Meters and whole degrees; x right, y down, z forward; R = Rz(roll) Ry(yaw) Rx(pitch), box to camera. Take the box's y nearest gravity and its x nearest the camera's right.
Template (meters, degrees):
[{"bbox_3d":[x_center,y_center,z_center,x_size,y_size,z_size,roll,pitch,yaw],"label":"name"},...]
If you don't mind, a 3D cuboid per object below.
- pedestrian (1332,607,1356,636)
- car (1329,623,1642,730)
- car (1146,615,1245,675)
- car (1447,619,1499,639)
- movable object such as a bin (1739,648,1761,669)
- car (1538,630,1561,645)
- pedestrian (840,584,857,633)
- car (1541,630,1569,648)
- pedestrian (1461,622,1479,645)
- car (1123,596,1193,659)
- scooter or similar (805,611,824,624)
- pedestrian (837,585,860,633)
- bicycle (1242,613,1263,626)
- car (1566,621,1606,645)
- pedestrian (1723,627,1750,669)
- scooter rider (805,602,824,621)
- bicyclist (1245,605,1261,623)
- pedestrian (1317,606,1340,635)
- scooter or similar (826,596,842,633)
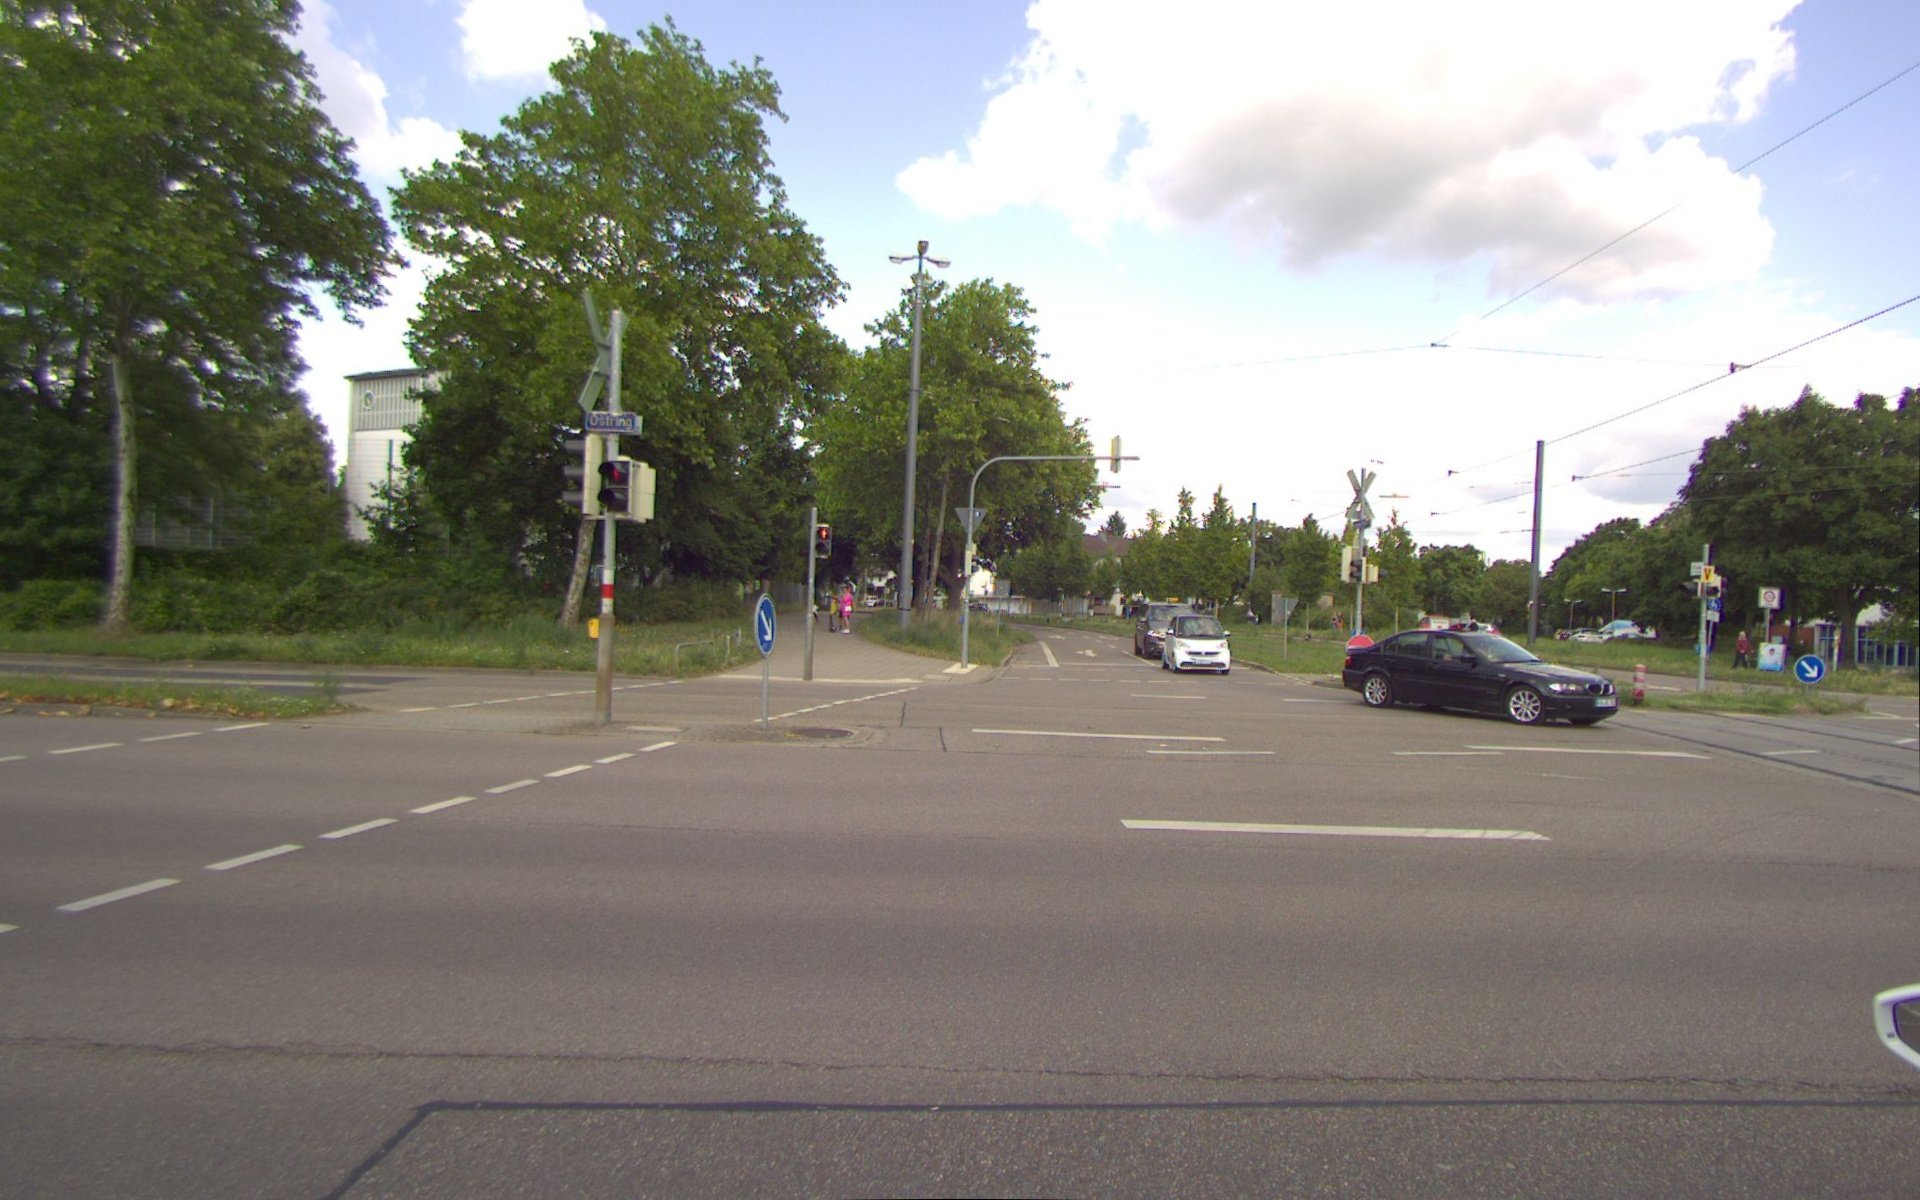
[{"bbox_3d":[27.577,1.514,72.193,1.086,2.040,1.175,2,0,-8],"label":"pedestrian"},{"bbox_3d":[8.499,1.163,16.718,1.787,1.450,4.440,2,-1,-25],"label":"car"},{"bbox_3d":[6.448,1.187,27.985,1.776,1.450,4.383,2,0,1],"label":"car"},{"bbox_3d":[44.522,2.483,87.248,3.925,1.550,1.998,2,0,26],"label":"car"},{"bbox_3d":[31.567,2.333,40.138,0.569,0.822,0.458,0,0,-15],"label":"movable object such as a bin"},{"bbox_3d":[70.575,4.451,120.322,1.962,1.662,4.386,2,0,26],"label":"car"},{"bbox_3d":[-3.818,0.289,34.468,0.413,1.641,0.596,1,0,9],"label":"pedestrian"},{"bbox_3d":[60.488,3.928,102.174,1.962,1.662,4.386,2,0,26],"label":"car"},{"bbox_3d":[29.717,1.950,58.545,0.638,1.372,0.752,0,0,0],"label":"pedestrian"},{"bbox_3d":[7.475,0.997,38.276,1.819,2.184,4.383,2,0,1],"label":"car"},{"bbox_3d":[-5.703,0.692,39.377,0.599,0.518,0.858,0,0,1],"label":"scooter or similar"},{"bbox_3d":[-3.893,0.300,35.127,0.620,1.641,0.611,1,0,9],"label":"pedestrian"},{"bbox_3d":[25.225,1.696,86.563,0.935,1.054,1.980,2,0,-11],"label":"bicycle"},{"bbox_3d":[46.022,2.412,73.947,1.962,1.662,4.386,2,0,26],"label":"car"},{"bbox_3d":[31.434,1.937,40.671,0.603,1.666,0.636,0,0,-14],"label":"pedestrian"},{"bbox_3d":[-5.705,0.431,39.379,0.600,0.738,0.859,0,0,1],"label":"scooter rider"},{"bbox_3d":[25.262,1.175,86.626,0.946,1.509,0.834,2,0,-10],"label":"bicyclist"},{"bbox_3d":[26.419,1.462,72.045,1.086,2.040,1.176,2,0,-6],"label":"pedestrian"},{"bbox_3d":[-4.311,0.494,34.471,0.315,1.248,0.776,0,0,11],"label":"scooter or similar"}]
